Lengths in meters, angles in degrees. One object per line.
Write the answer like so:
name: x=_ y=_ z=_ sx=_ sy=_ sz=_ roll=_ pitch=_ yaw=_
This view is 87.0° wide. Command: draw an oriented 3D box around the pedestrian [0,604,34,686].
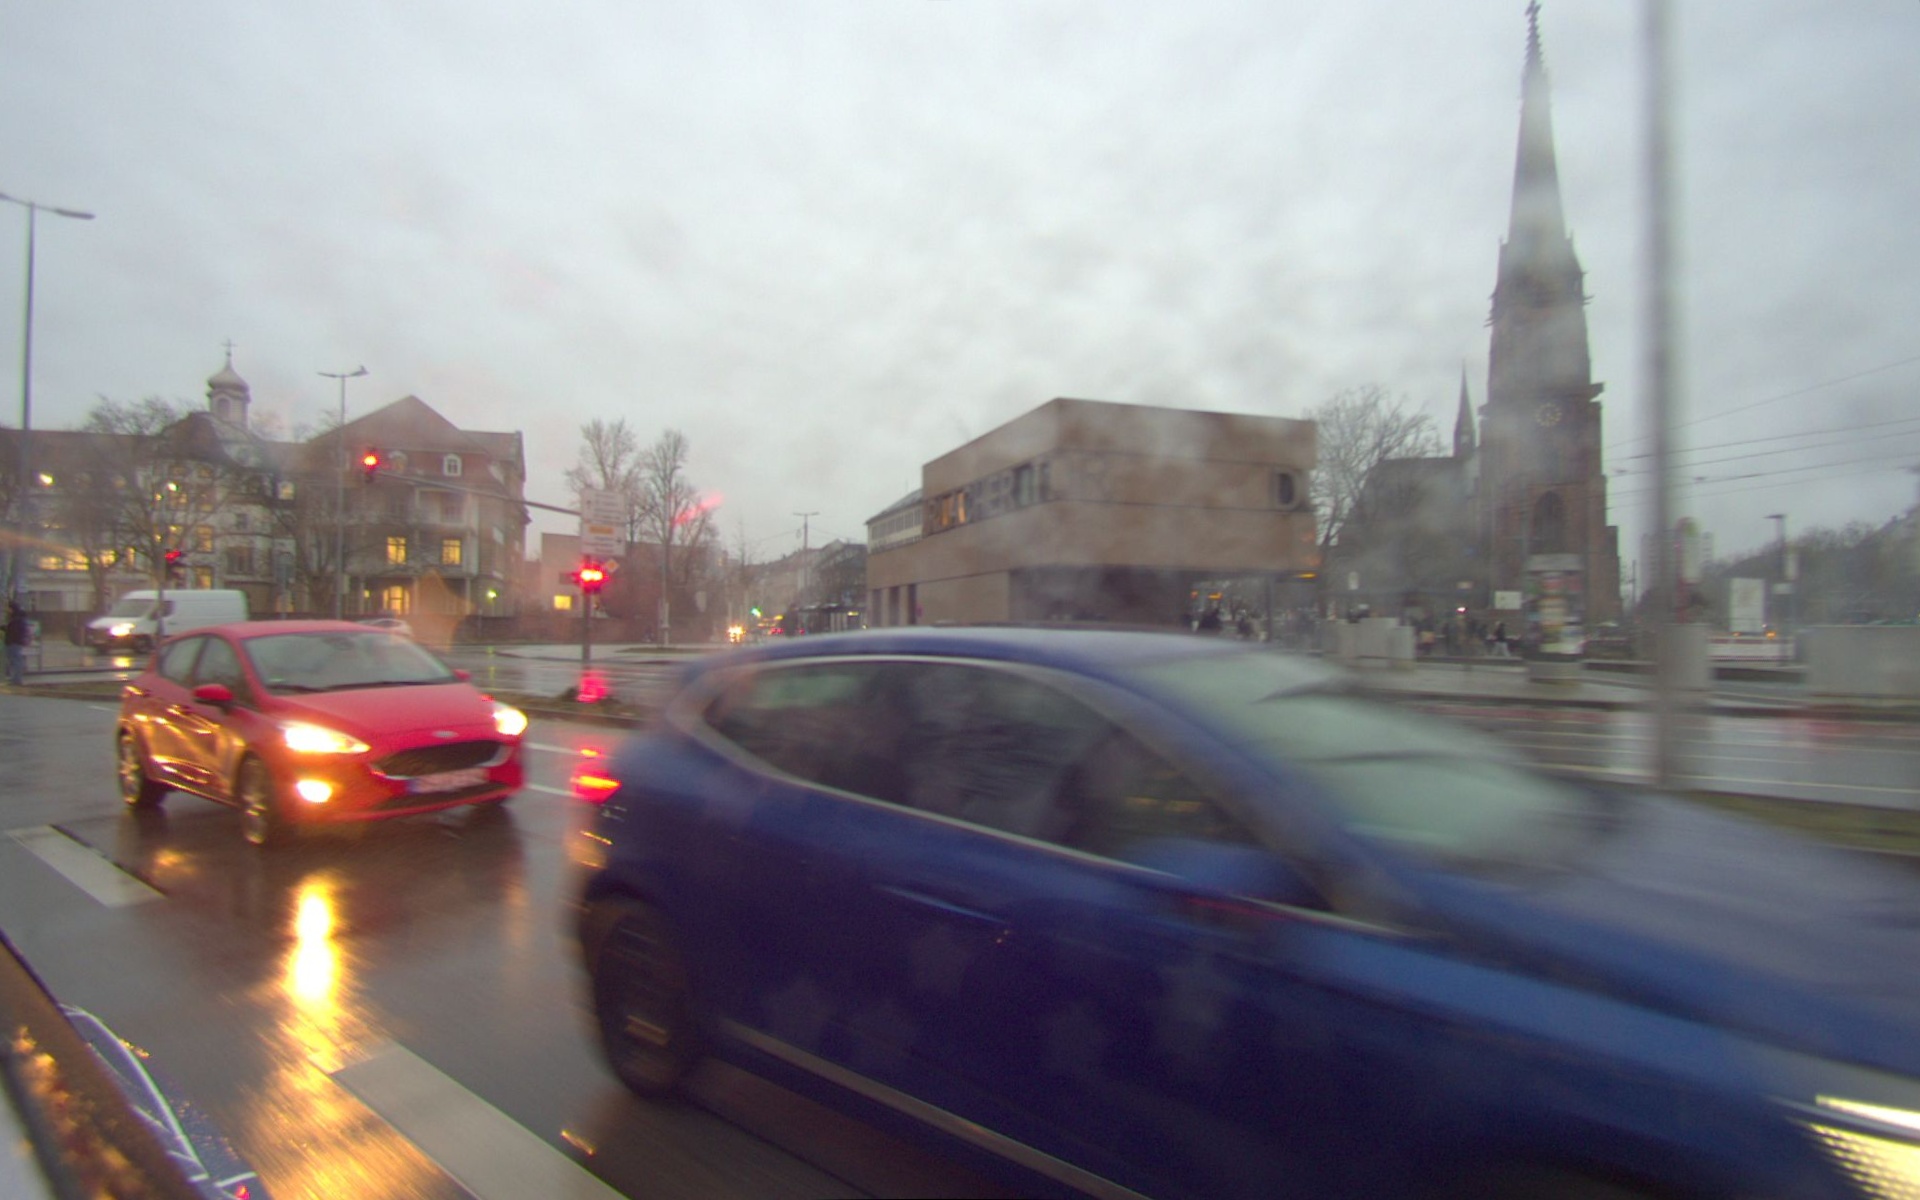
pedestrian: x=-22.227 y=1.051 z=23.182 sx=1.056 sy=1.872 sz=1.034 roll=-2 pitch=-3 yaw=3

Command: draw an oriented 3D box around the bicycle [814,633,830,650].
bicycle: x=-9.183 y=2.771 z=67.436 sx=0.636 sy=1.113 sz=2.758 roll=-1 pitch=-3 yaw=-16

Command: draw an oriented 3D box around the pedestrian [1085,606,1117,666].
pedestrian: x=4.274 y=1.083 z=30.627 sx=0.828 sy=1.781 sz=0.656 roll=-1 pitch=-3 yaw=24

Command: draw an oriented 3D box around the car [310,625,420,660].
car: x=-29.471 y=2.101 z=50.342 sx=1.822 sy=1.656 sz=4.793 roll=0 pitch=-2 yaw=15

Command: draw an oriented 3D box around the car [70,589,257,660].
car: x=-31.659 y=1.035 z=40.538 sx=2.323 sy=2.537 sz=5.847 roll=-3 pitch=-3 yaw=11

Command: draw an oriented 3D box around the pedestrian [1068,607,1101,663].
pedestrian: x=3.944 y=1.122 z=32.019 sx=0.731 sy=1.739 sz=0.745 roll=2 pitch=-3 yaw=-41

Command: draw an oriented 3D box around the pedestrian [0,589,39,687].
pedestrian: x=-20.119 y=0.816 z=21.323 sx=1.107 sy=2.021 sz=0.838 roll=-4 pitch=-4 yaw=35

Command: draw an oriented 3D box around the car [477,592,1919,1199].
car: x=0.506 y=0.724 z=2.797 sx=4.114 sy=1.414 sz=1.643 roll=-1 pitch=0 yaw=38

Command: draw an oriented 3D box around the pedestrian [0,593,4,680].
pedestrian: x=-23.500 y=0.864 z=23.713 sx=1.022 sy=2.065 sz=1.213 roll=-2 pitch=-3 yaw=5

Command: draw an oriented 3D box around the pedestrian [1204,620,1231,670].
pedestrian: x=9.148 y=1.606 z=35.996 sx=0.741 sy=1.739 sz=0.734 roll=-1 pitch=-3 yaw=32

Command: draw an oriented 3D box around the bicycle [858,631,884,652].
bicycle: x=-4.952 y=2.290 z=56.004 sx=0.597 sy=1.113 sz=2.760 roll=-1 pitch=-2 yaw=-23

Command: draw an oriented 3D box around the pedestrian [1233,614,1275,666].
pedestrian: x=9.195 y=1.256 z=31.725 sx=0.841 sy=1.615 sz=0.968 roll=1 pitch=-3 yaw=-20

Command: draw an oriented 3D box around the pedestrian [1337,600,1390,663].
pedestrian: x=12.654 y=0.985 z=31.750 sx=1.104 sy=1.933 sz=1.065 roll=1 pitch=-2 yaw=-16

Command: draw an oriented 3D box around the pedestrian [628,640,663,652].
pedestrian: x=-28.905 y=4.249 z=93.129 sx=3.047 sy=0.937 sz=0.951 roll=-1 pitch=-3 yaw=-14

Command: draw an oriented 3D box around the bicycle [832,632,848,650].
bicycle: x=-8.032 y=2.739 z=67.666 sx=0.636 sy=1.113 sz=2.758 roll=-1 pitch=-3 yaw=-16

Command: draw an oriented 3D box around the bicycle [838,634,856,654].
bicycle: x=-6.714 y=2.603 z=60.049 sx=0.636 sy=1.113 sz=2.758 roll=-1 pitch=-3 yaw=-16

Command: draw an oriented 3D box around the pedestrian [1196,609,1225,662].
pedestrian: x=8.385 y=1.185 z=33.819 sx=0.742 sy=1.739 sz=0.734 roll=-1 pitch=-3 yaw=34

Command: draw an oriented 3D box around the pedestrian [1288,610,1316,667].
pedestrian: x=10.640 y=1.196 z=31.504 sx=0.758 sy=1.764 sz=0.794 roll=-1 pitch=-3 yaw=23

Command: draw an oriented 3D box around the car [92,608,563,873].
car: x=-4.934 y=0.865 z=7.739 sx=3.863 sy=1.493 sz=1.686 roll=-1 pitch=1 yaw=36

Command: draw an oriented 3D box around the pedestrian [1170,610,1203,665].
pedestrian: x=7.372 y=1.224 z=32.979 sx=0.731 sy=1.739 sz=0.745 roll=2 pitch=-3 yaw=-41

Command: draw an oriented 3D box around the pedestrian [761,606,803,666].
pedestrian: x=-5.715 y=1.156 z=32.429 sx=1.017 sy=1.872 sz=1.238 roll=-1 pitch=-3 yaw=-23
